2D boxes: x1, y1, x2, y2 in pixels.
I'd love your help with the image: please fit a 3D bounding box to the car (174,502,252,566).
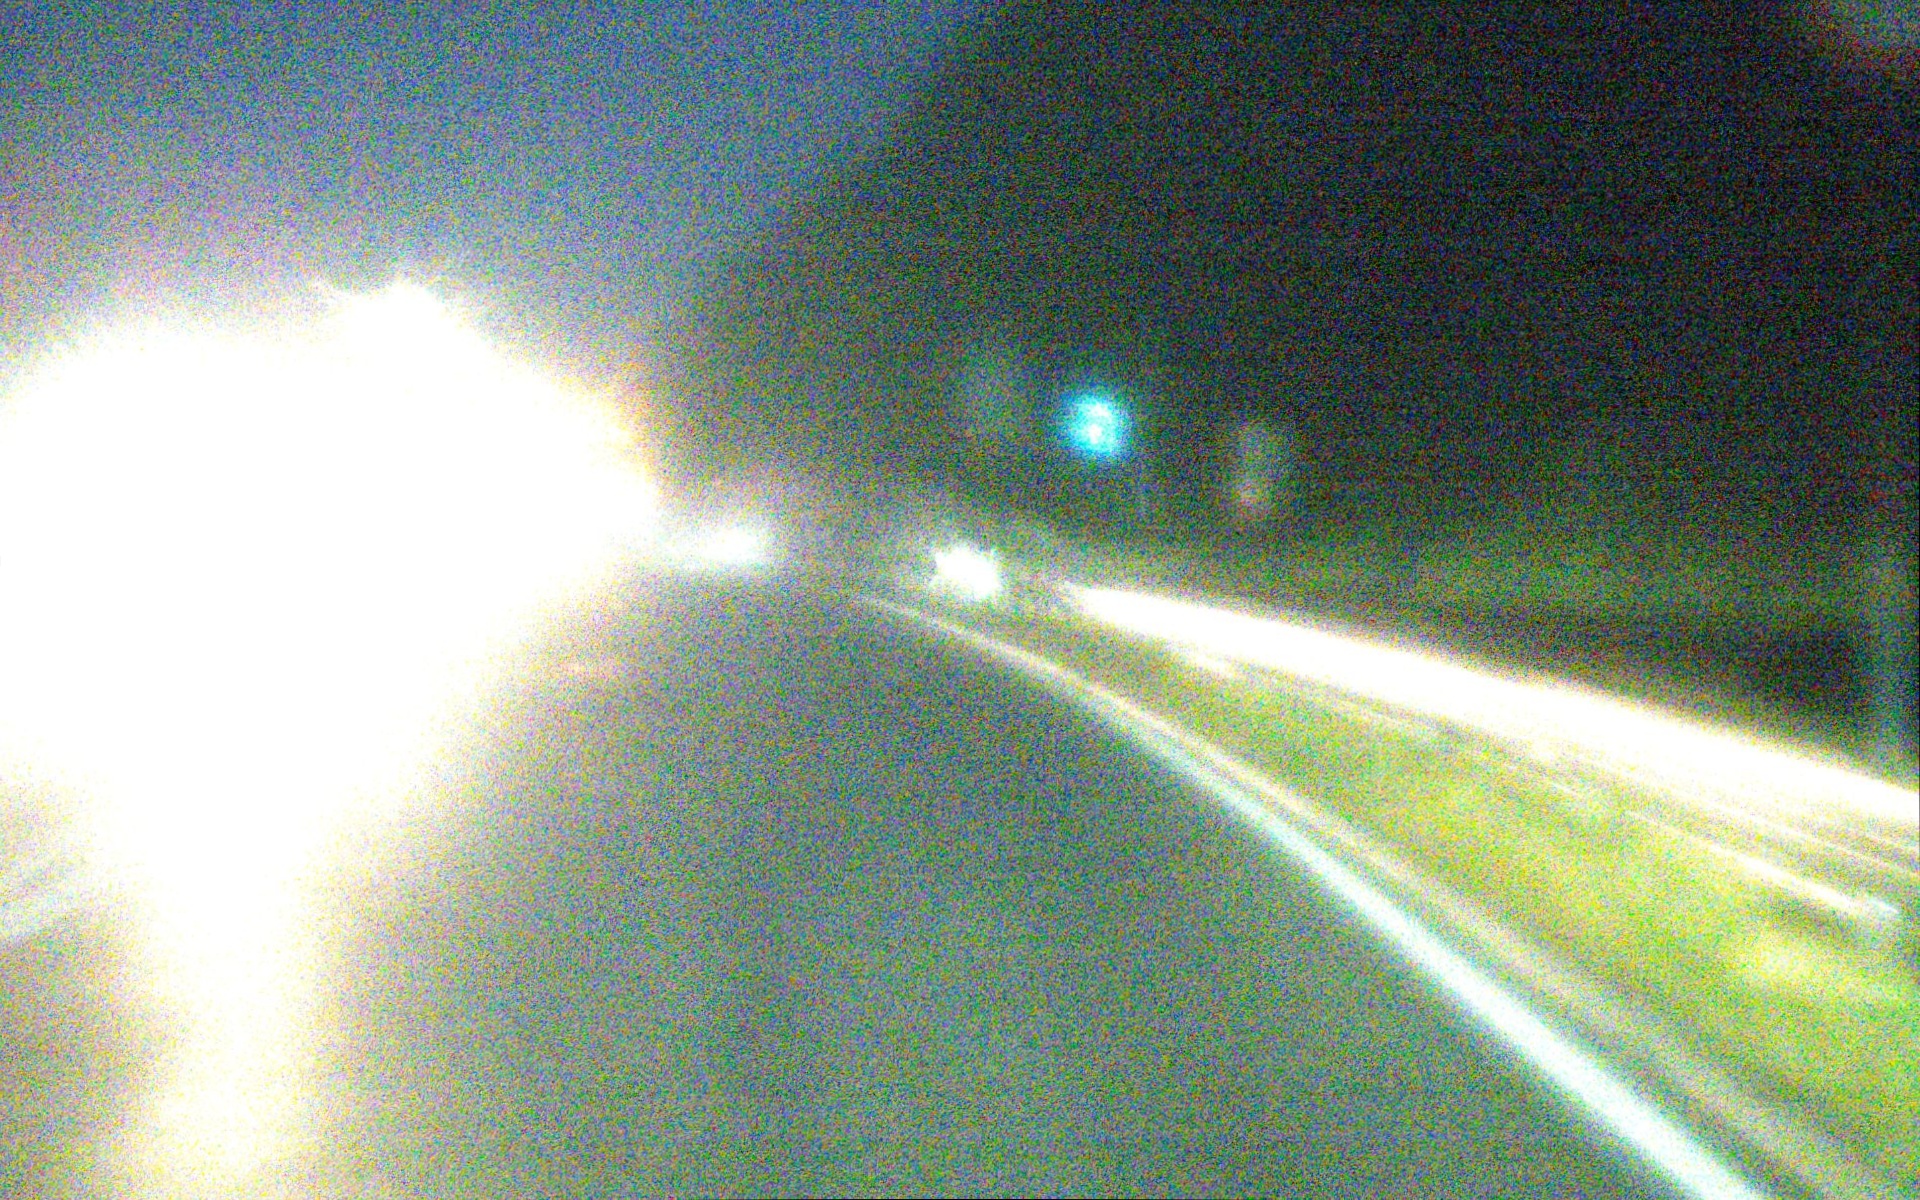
[{"bbox_3d":[-19.436,-1.717,89.577,1.880,1.595,3.901,1,1,-11],"label":"car"}]
